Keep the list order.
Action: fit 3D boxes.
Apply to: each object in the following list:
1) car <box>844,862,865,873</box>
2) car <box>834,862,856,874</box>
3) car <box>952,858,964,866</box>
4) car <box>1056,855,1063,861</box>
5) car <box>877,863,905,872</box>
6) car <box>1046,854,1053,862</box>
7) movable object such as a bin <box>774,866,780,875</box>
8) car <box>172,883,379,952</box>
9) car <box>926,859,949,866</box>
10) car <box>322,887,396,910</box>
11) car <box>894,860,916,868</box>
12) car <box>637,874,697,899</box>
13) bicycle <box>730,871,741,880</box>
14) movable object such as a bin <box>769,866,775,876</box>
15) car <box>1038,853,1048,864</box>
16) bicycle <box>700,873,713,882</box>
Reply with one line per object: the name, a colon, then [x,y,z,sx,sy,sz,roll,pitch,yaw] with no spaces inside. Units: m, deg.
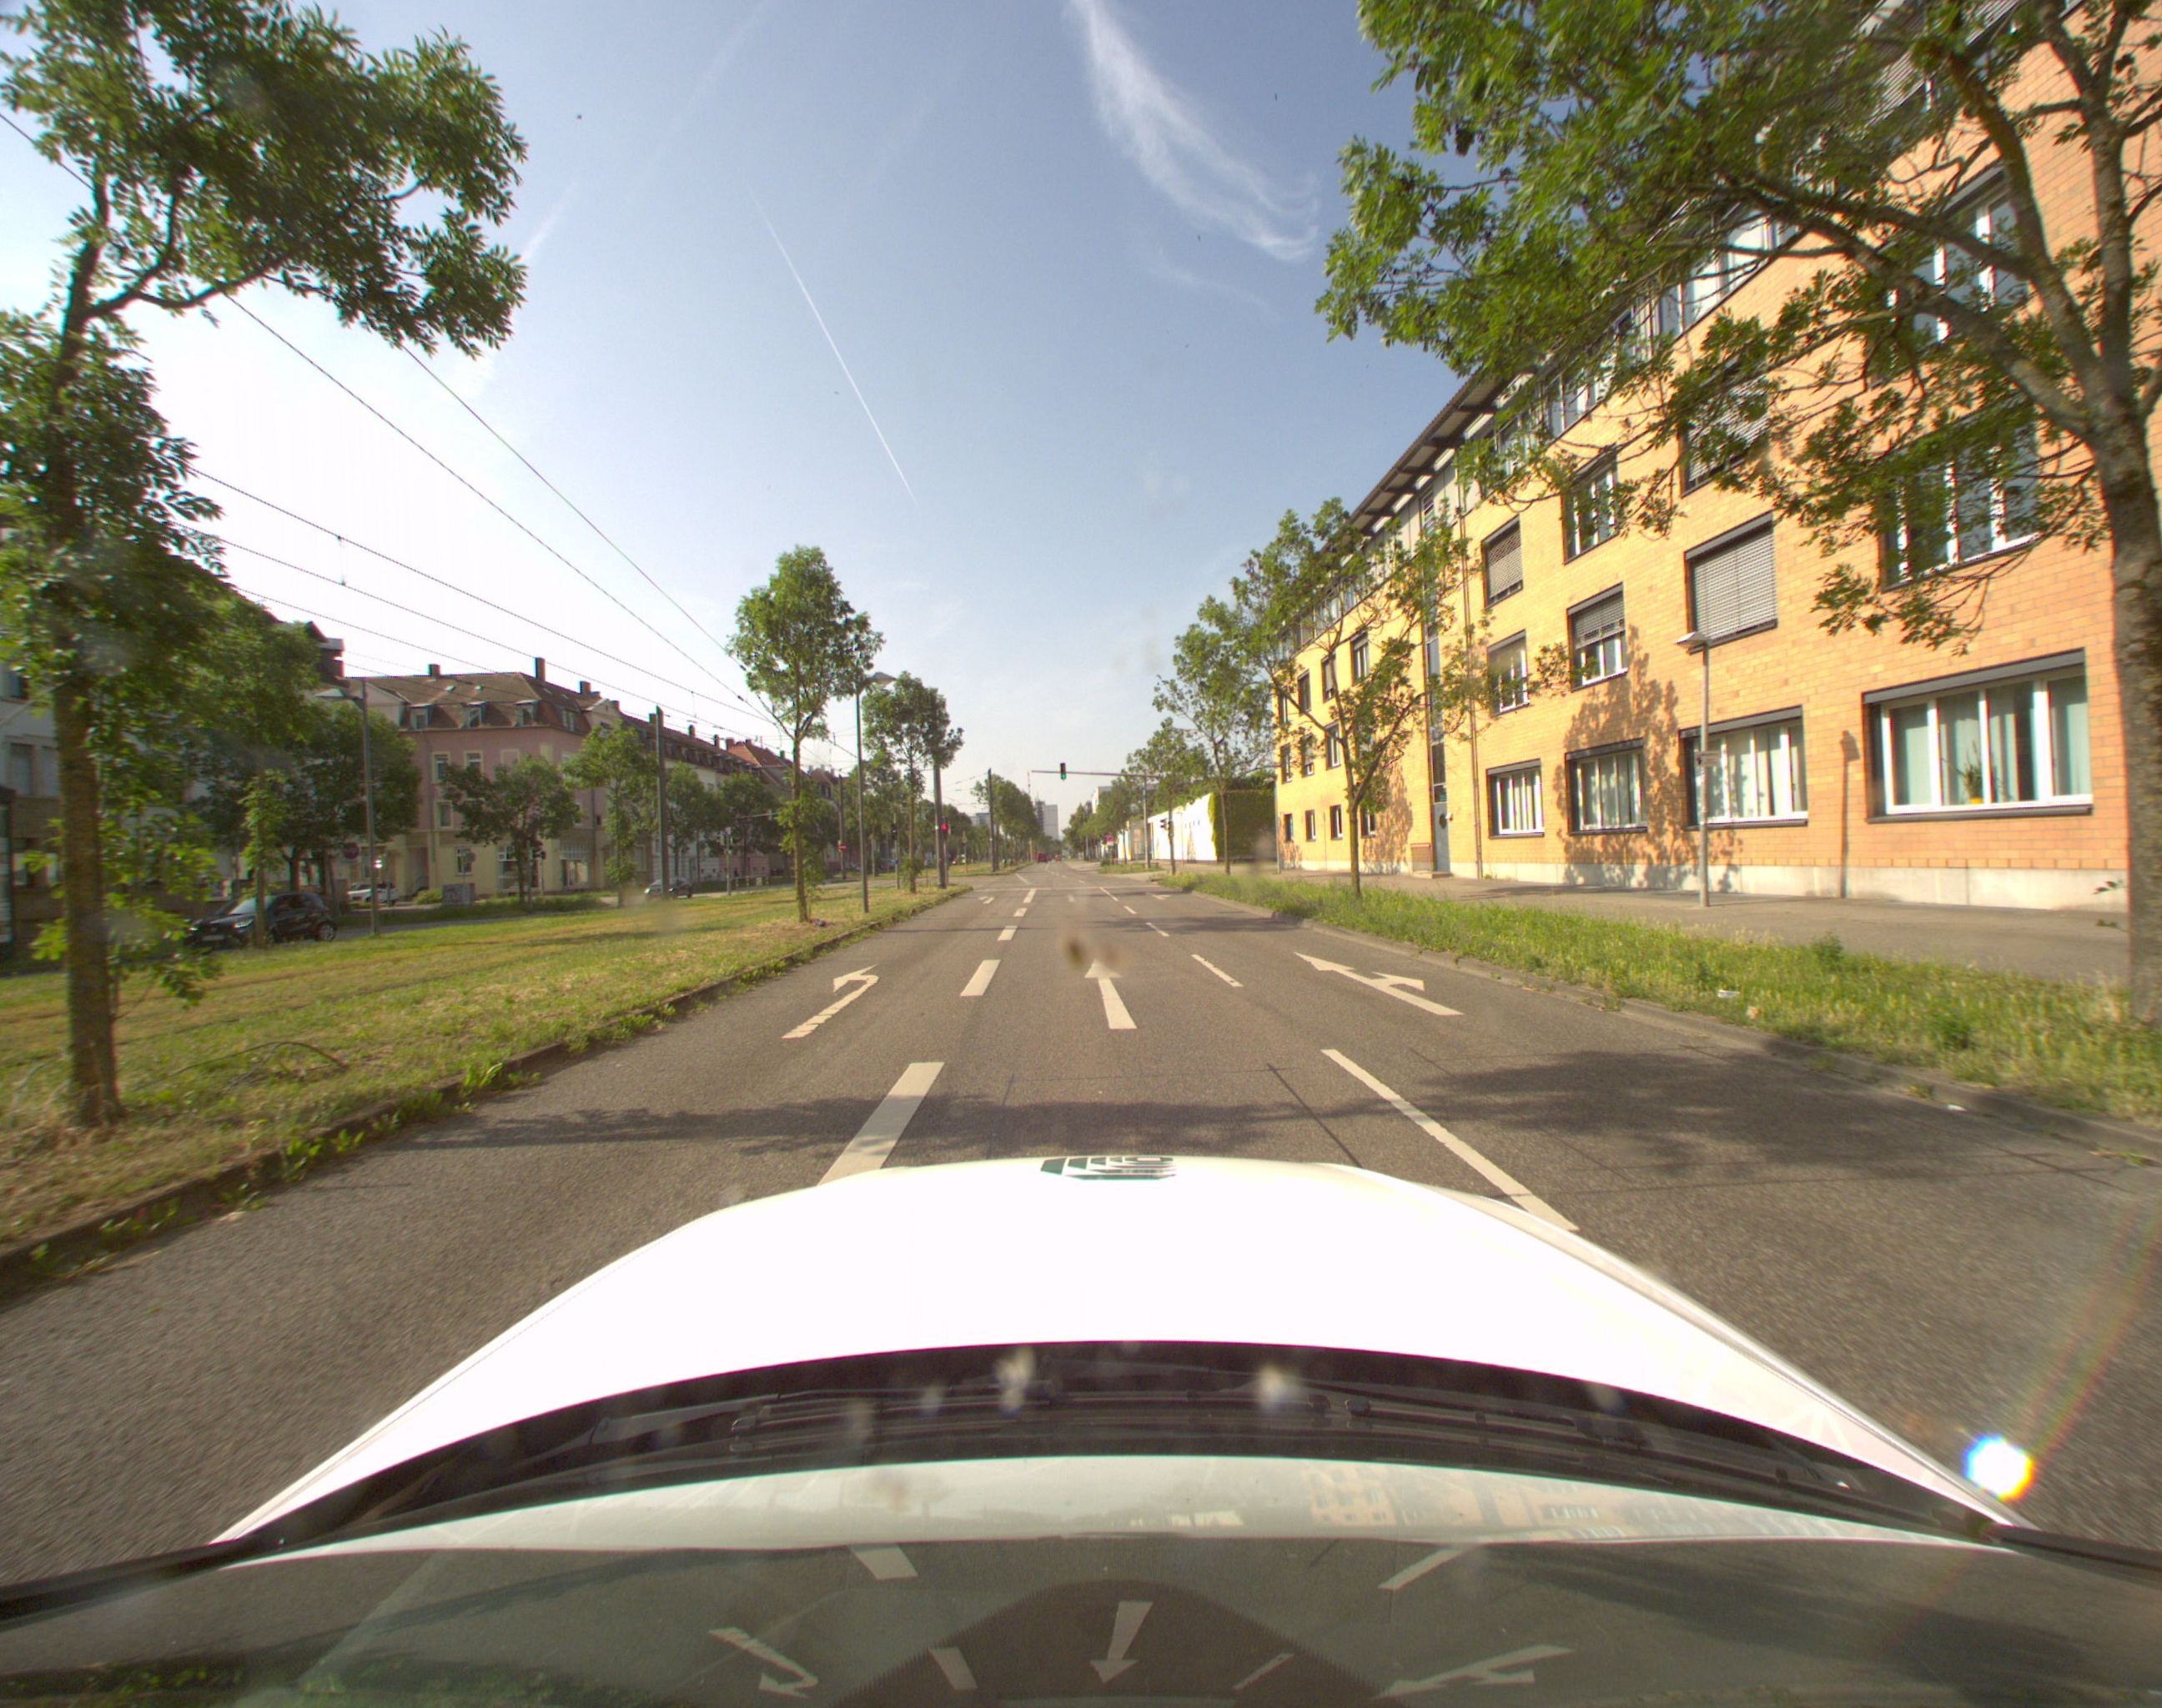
car: [-33.750,2.048,121.478,1.883,1.628,4.156,0,0,1]
car: [-33.445,1.943,115.740,1.989,1.628,4.769,0,0,-4]
car: [-28.494,1.876,188.473,1.957,1.694,4.298,0,-1,2]
car: [-5.976,1.192,227.063,1.743,1.650,3.214,0,-1,-1]
car: [-30.797,2.155,132.166,4.418,1.419,1.988,-1,-1,35]
car: [-8.631,1.101,222.581,1.743,2.014,3.214,0,-1,-1]
movable object such as a bin: [-40.903,2.282,109.678,0.584,1.211,0.639,0,-1,-4]
car: [-22.329,1.692,22.836,1.758,1.655,3.999,0,-1,0]
car: [-34.092,2.030,193.660,5.259,1.738,2.012,-1,-1,31]
car: [-48.632,2.990,54.893,3.391,1.462,1.567,0,-1,-5]
car: [-31.986,1.865,148.042,3.949,1.417,1.586,0,-1,28]
car: [-25.394,1.969,50.090,1.808,1.433,3.922,0,-1,-3]
bicycle: [-35.035,2.201,82.608,0.446,0.857,1.945,0,-1,-3]
movable object such as a bin: [-41.592,2.282,109.593,0.584,1.211,0.639,0,-1,-4]
car: [-6.827,0.778,147.316,1.743,2.014,3.214,0,-1,-1]
bicycle: [-34.938,2.225,75.941,0.436,0.789,1.945,0,-1,-3]
